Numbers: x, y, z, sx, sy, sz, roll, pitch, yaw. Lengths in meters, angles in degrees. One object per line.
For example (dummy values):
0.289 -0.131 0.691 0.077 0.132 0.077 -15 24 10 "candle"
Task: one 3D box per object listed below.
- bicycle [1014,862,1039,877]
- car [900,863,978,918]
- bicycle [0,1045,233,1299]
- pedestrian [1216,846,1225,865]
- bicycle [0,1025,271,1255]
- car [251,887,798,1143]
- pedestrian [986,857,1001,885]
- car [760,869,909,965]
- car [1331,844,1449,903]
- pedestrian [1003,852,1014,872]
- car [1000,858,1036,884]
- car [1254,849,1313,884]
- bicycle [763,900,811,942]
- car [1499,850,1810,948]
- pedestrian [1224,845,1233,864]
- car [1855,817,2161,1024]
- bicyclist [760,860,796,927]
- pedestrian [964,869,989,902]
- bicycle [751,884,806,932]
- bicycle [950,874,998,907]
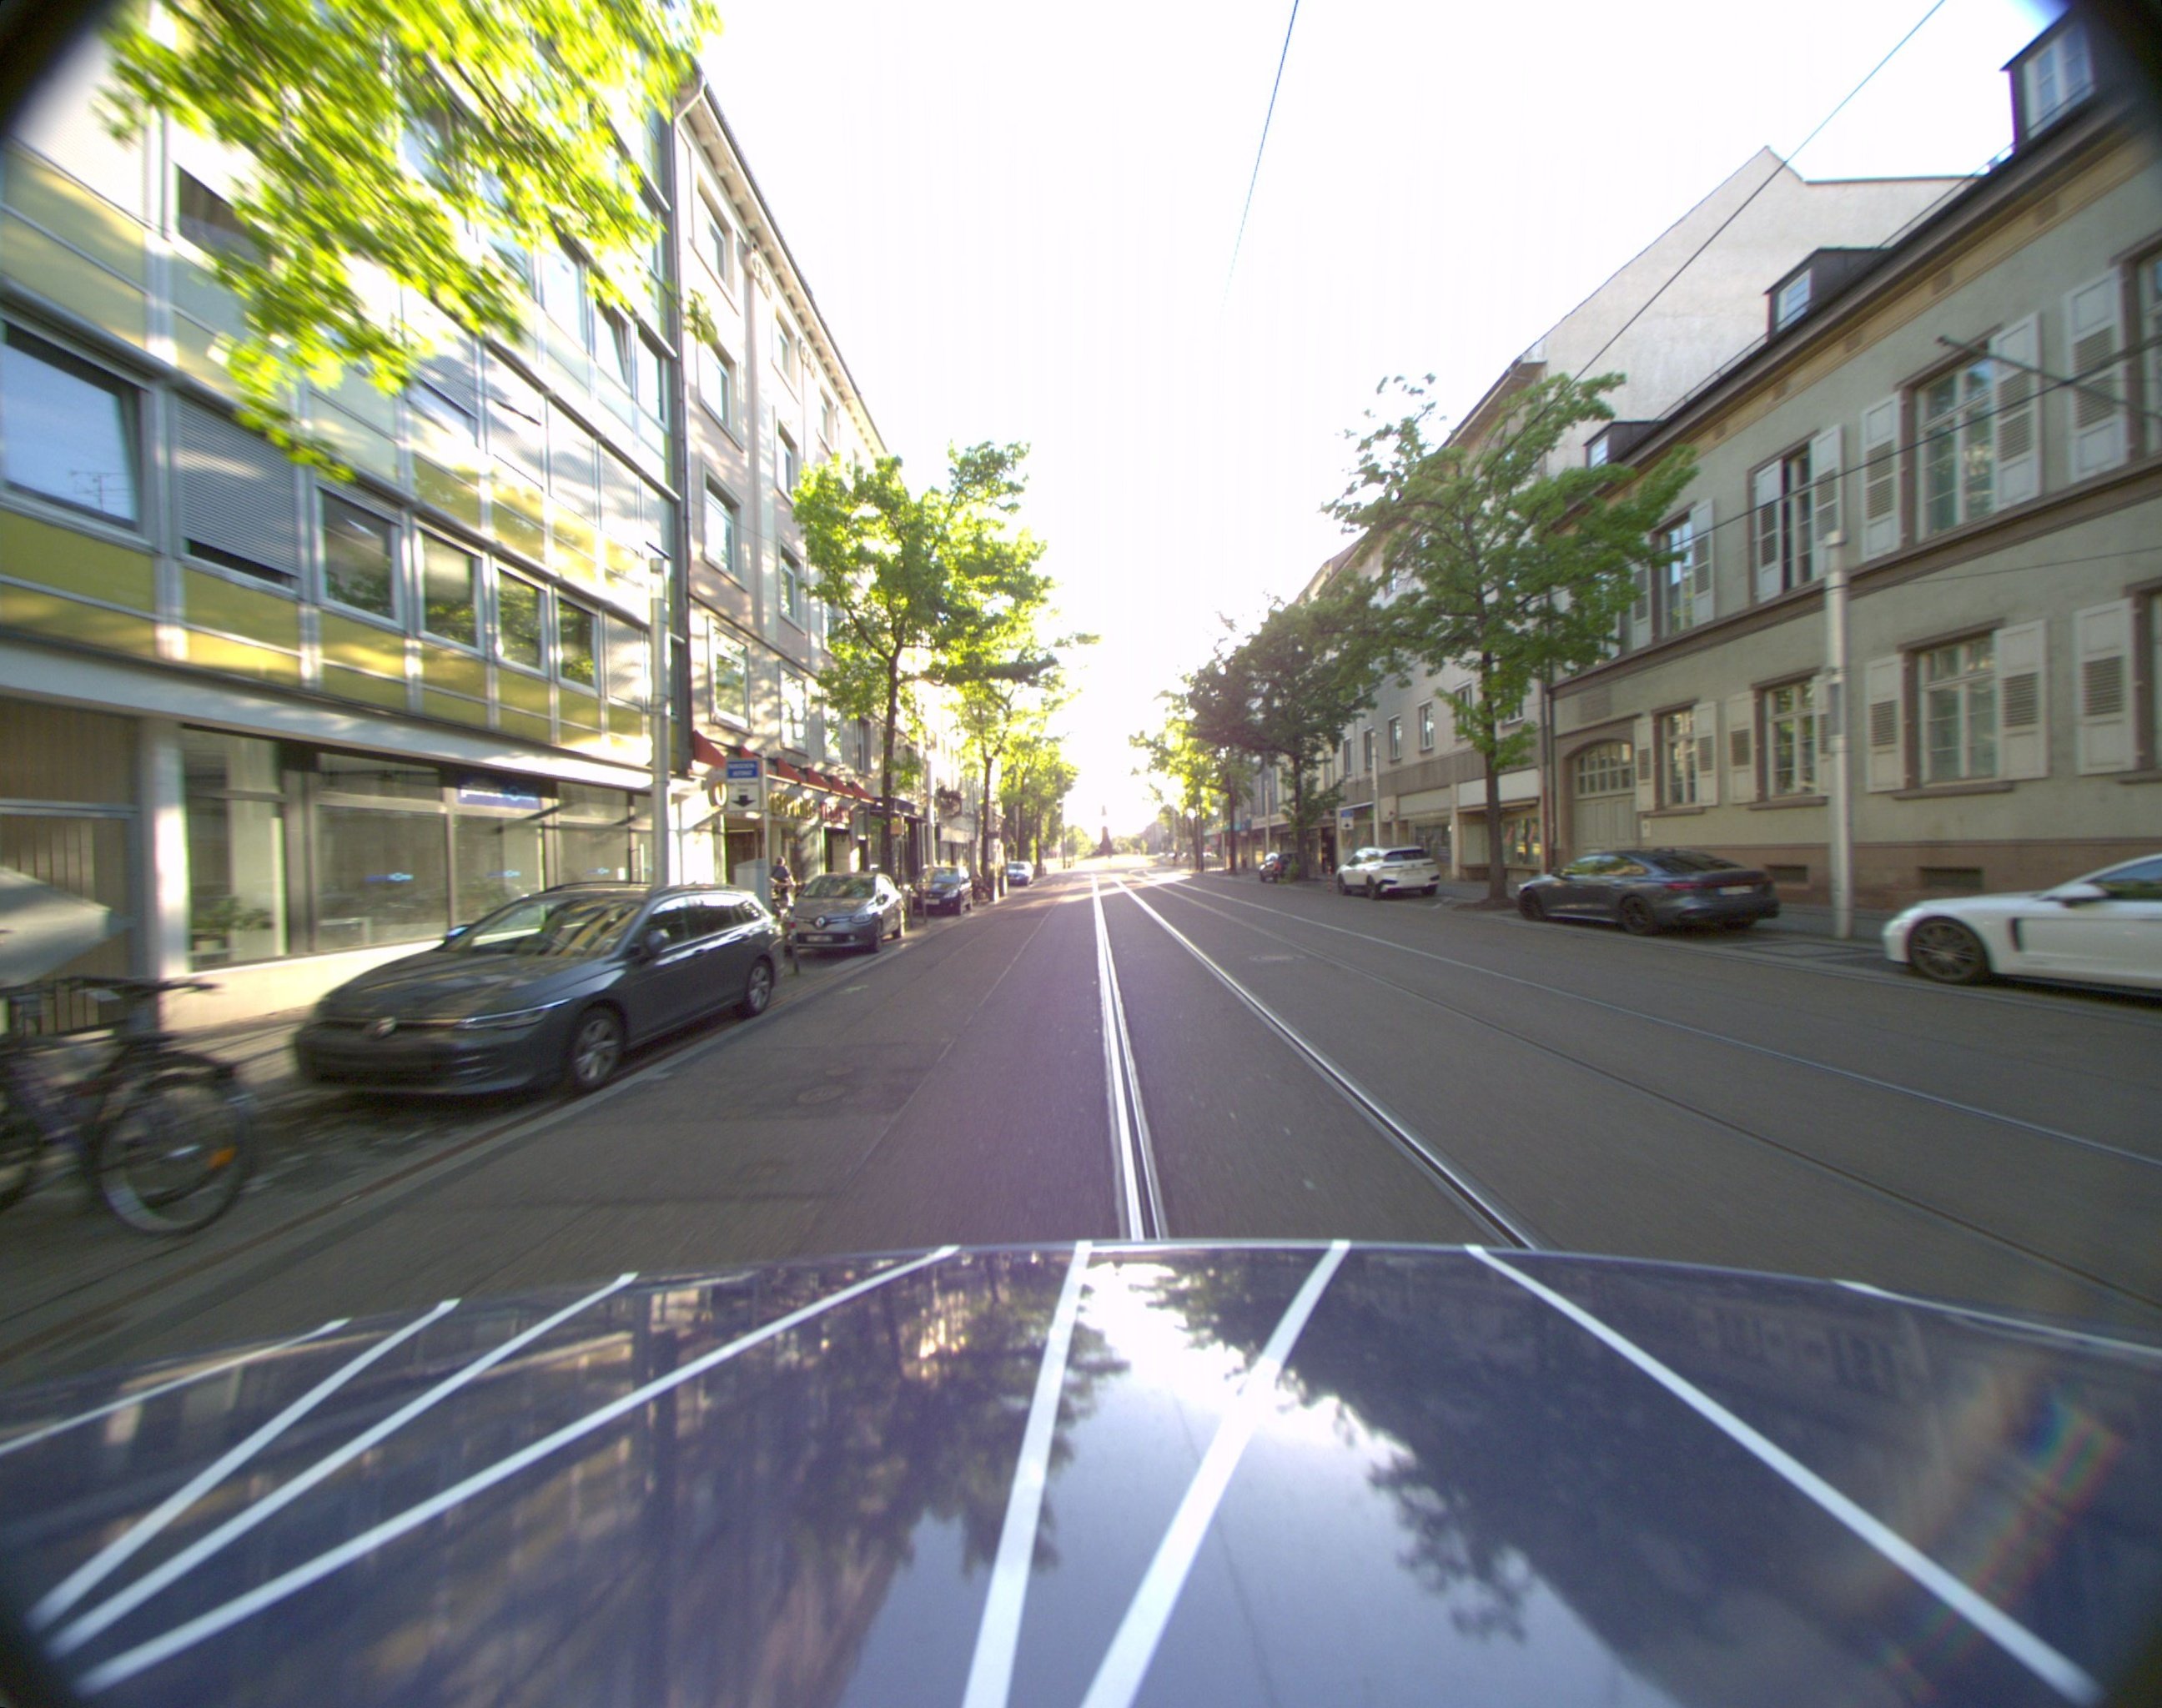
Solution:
-4.344 1.235 60.464 1.870 1.148 0.348 -2 1 3 "bicycle"
-4.392 1.093 24.006 1.805 1.450 3.654 3 0 -2 "car"
-4.781 1.346 3.309 2.041 0.959 0.282 -2 1 6 "bicycle"
15.025 0.207 81.933 0.798 2.002 0.734 -2 1 2 "pedestrian"
-4.966 1.349 3.671 1.900 0.959 0.332 -2 1 6 "bicycle"
-4.395 1.133 6.988 1.875 1.444 4.106 1 0 3 "car"
-5.230 0.999 45.381 0.805 1.633 0.756 -1 0 1 "pedestrian"
-4.615 1.118 14.842 1.820 1.477 3.998 2 0 -4 "car"
10.167 0.571 25.456 1.966 1.630 4.812 -5 0 1 "car"
-7.144 0.784 75.037 0.847 2.002 0.842 -2 1 -15 "pedestrian"
-3.945 1.050 48.163 1.780 1.432 4.422 1 1 1 "car"
10.613 0.625 40.125 1.967 1.630 4.000 -4 0 1 "car"
-6.594 1.487 17.127 0.467 0.802 1.607 -1 0 -1 "bicycle"
10.090 0.675 14.016 1.967 1.404 4.845 -2 0 -2 "car"
15.570 0.080 80.254 0.798 2.002 0.734 -2 1 2 "pedestrian"
9.800 0.517 6.199 1.951 1.630 4.909 -4 0 1 "car"
-7.661 0.991 19.247 0.640 1.674 0.599 -1 1 -1 "bicyclist"
-4.147 1.233 30.161 0.819 1.258 0.586 -2 1 6 "pedestrian"
-7.662 1.351 19.311 0.649 1.068 1.861 -1 0 -1 "bicycle"
-4.003 1.353 28.343 1.728 1.132 0.547 0 1 21 "bicycle"
